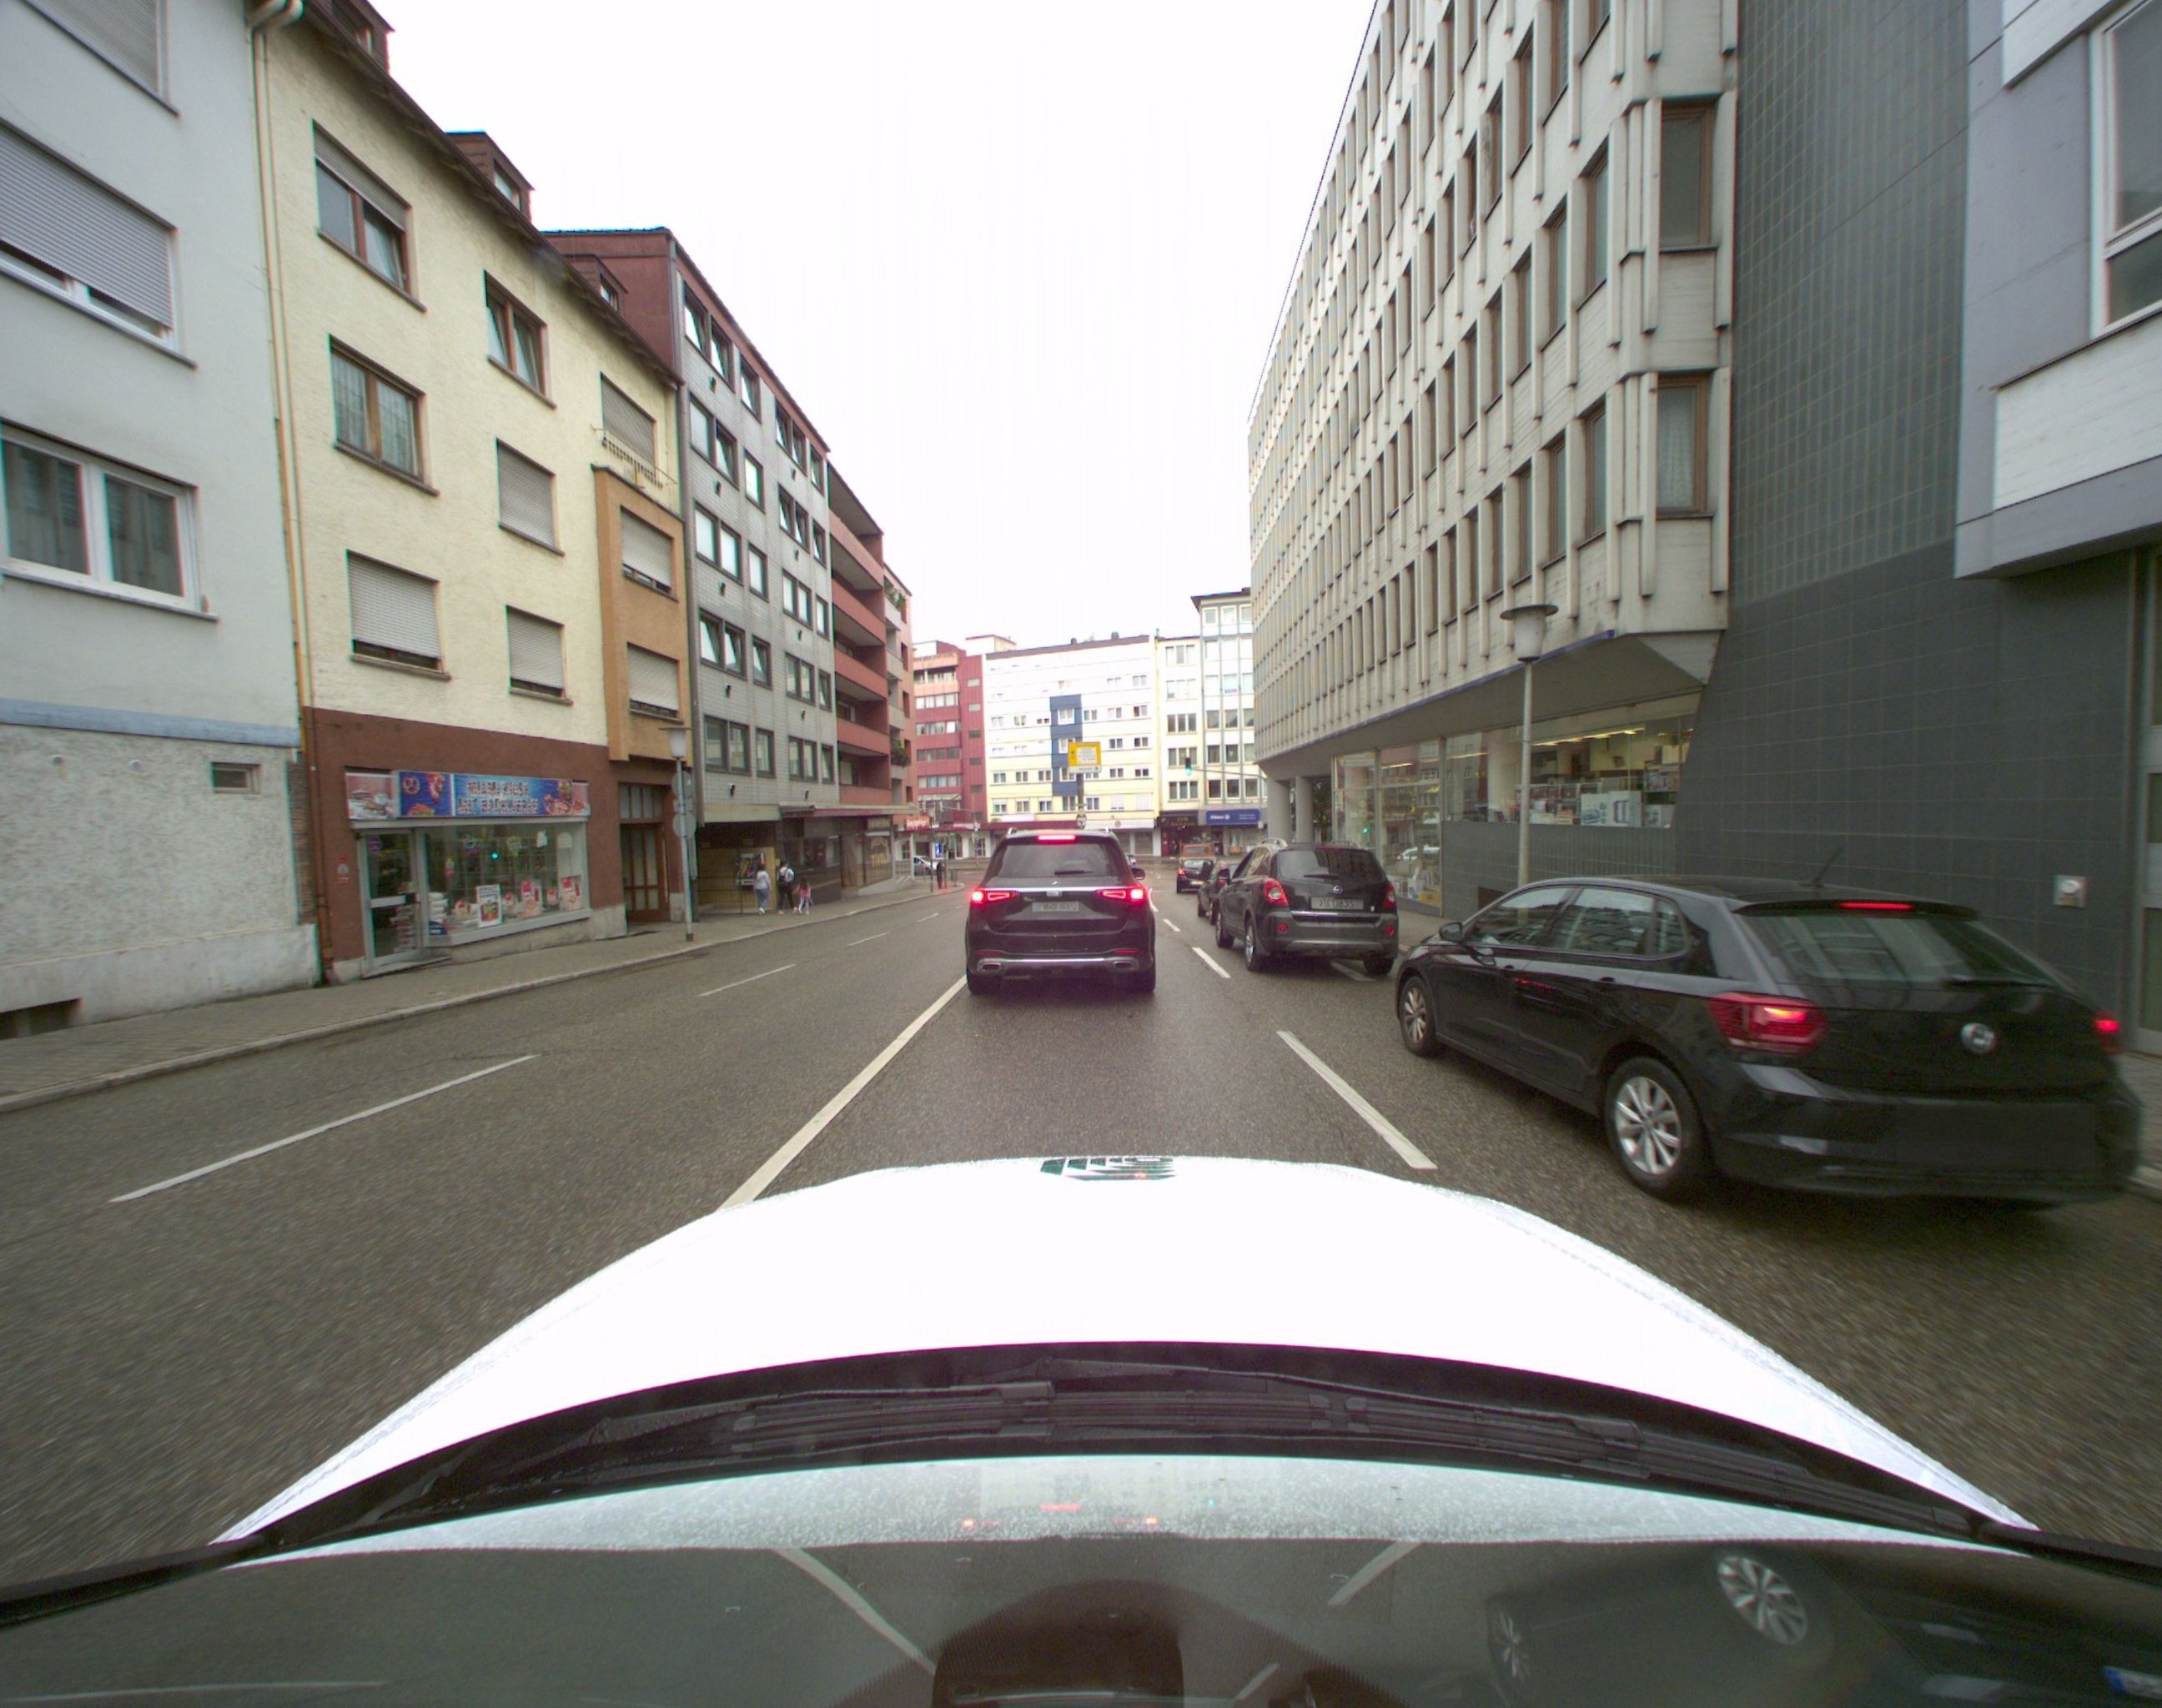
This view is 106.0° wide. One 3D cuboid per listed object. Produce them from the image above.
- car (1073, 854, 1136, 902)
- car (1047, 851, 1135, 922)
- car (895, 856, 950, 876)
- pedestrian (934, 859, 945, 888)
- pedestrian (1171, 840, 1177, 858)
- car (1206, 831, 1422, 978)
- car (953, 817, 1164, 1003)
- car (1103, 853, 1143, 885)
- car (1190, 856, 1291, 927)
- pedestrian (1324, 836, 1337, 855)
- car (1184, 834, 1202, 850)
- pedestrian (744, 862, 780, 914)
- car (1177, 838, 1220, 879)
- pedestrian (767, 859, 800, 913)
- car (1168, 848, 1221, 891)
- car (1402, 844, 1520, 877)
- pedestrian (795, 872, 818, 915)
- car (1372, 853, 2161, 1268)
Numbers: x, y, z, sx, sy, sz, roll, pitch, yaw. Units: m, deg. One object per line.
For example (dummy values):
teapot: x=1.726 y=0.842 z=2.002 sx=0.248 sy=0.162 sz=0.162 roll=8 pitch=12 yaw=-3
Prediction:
car: x=0.830 y=0.774 z=28.699 sx=1.986 sy=1.486 sz=4.238 roll=-2 pitch=0 yaw=2
car: x=0.225 y=0.692 z=19.518 sx=1.867 sy=1.495 sz=4.400 roll=0 pitch=0 yaw=0
car: x=-13.299 y=0.989 z=68.251 sx=4.130 sy=1.592 sz=1.748 roll=0 pitch=0 yaw=16
pedestrian: x=-8.275 y=1.121 z=47.661 sx=0.552 sy=1.697 sz=0.623 roll=-1 pitch=0 yaw=-2
pedestrian: x=9.119 y=-0.533 z=80.025 sx=0.561 sy=1.688 sz=0.758 roll=-2 pitch=6 yaw=8
car: x=3.104 y=0.593 z=11.889 sx=1.891 sy=1.695 sz=4.506 roll=2 pitch=0 yaw=1
car: x=-0.206 y=0.538 z=10.237 sx=2.032 sy=1.799 sz=4.662 roll=0 pitch=0 yaw=0
car: x=2.097 y=0.761 z=41.700 sx=1.917 sy=1.515 sz=4.664 roll=1 pitch=-1 yaw=2
car: x=3.622 y=0.793 z=19.140 sx=1.759 sy=1.397 sz=4.004 roll=3 pitch=0 yaw=3
pedestrian: x=23.389 y=-0.763 z=76.397 sx=1.023 sy=1.688 sz=0.833 roll=-1 pitch=6 yaw=10
car: x=12.750 y=-1.313 z=92.274 sx=1.786 sy=1.670 sz=4.012 roll=-2 pitch=0 yaw=10
pedestrian: x=-9.785 y=1.047 z=25.005 sx=0.826 sy=1.561 sz=0.722 roll=1 pitch=0 yaw=-7
car: x=6.741 y=0.255 z=47.251 sx=2.231 sy=2.228 sz=5.437 roll=0 pitch=0 yaw=6
pedestrian: x=-9.458 y=1.002 z=25.897 sx=0.826 sy=1.689 sz=0.722 roll=1 pitch=0 yaw=-7
car: x=4.650 y=0.632 z=33.847 sx=1.815 sy=1.658 sz=4.499 roll=0 pitch=-1 yaw=3
car: x=18.248 y=0.312 z=39.283 sx=4.790 sy=1.494 sz=1.868 roll=-1 pitch=0 yaw=43
pedestrian: x=-8.641 y=1.227 z=25.691 sx=0.533 sy=1.323 sz=0.722 roll=1 pitch=0 yaw=-7
car: x=3.346 y=0.757 z=4.979 sx=1.683 sy=1.477 sz=4.000 roll=2 pitch=0 yaw=0
